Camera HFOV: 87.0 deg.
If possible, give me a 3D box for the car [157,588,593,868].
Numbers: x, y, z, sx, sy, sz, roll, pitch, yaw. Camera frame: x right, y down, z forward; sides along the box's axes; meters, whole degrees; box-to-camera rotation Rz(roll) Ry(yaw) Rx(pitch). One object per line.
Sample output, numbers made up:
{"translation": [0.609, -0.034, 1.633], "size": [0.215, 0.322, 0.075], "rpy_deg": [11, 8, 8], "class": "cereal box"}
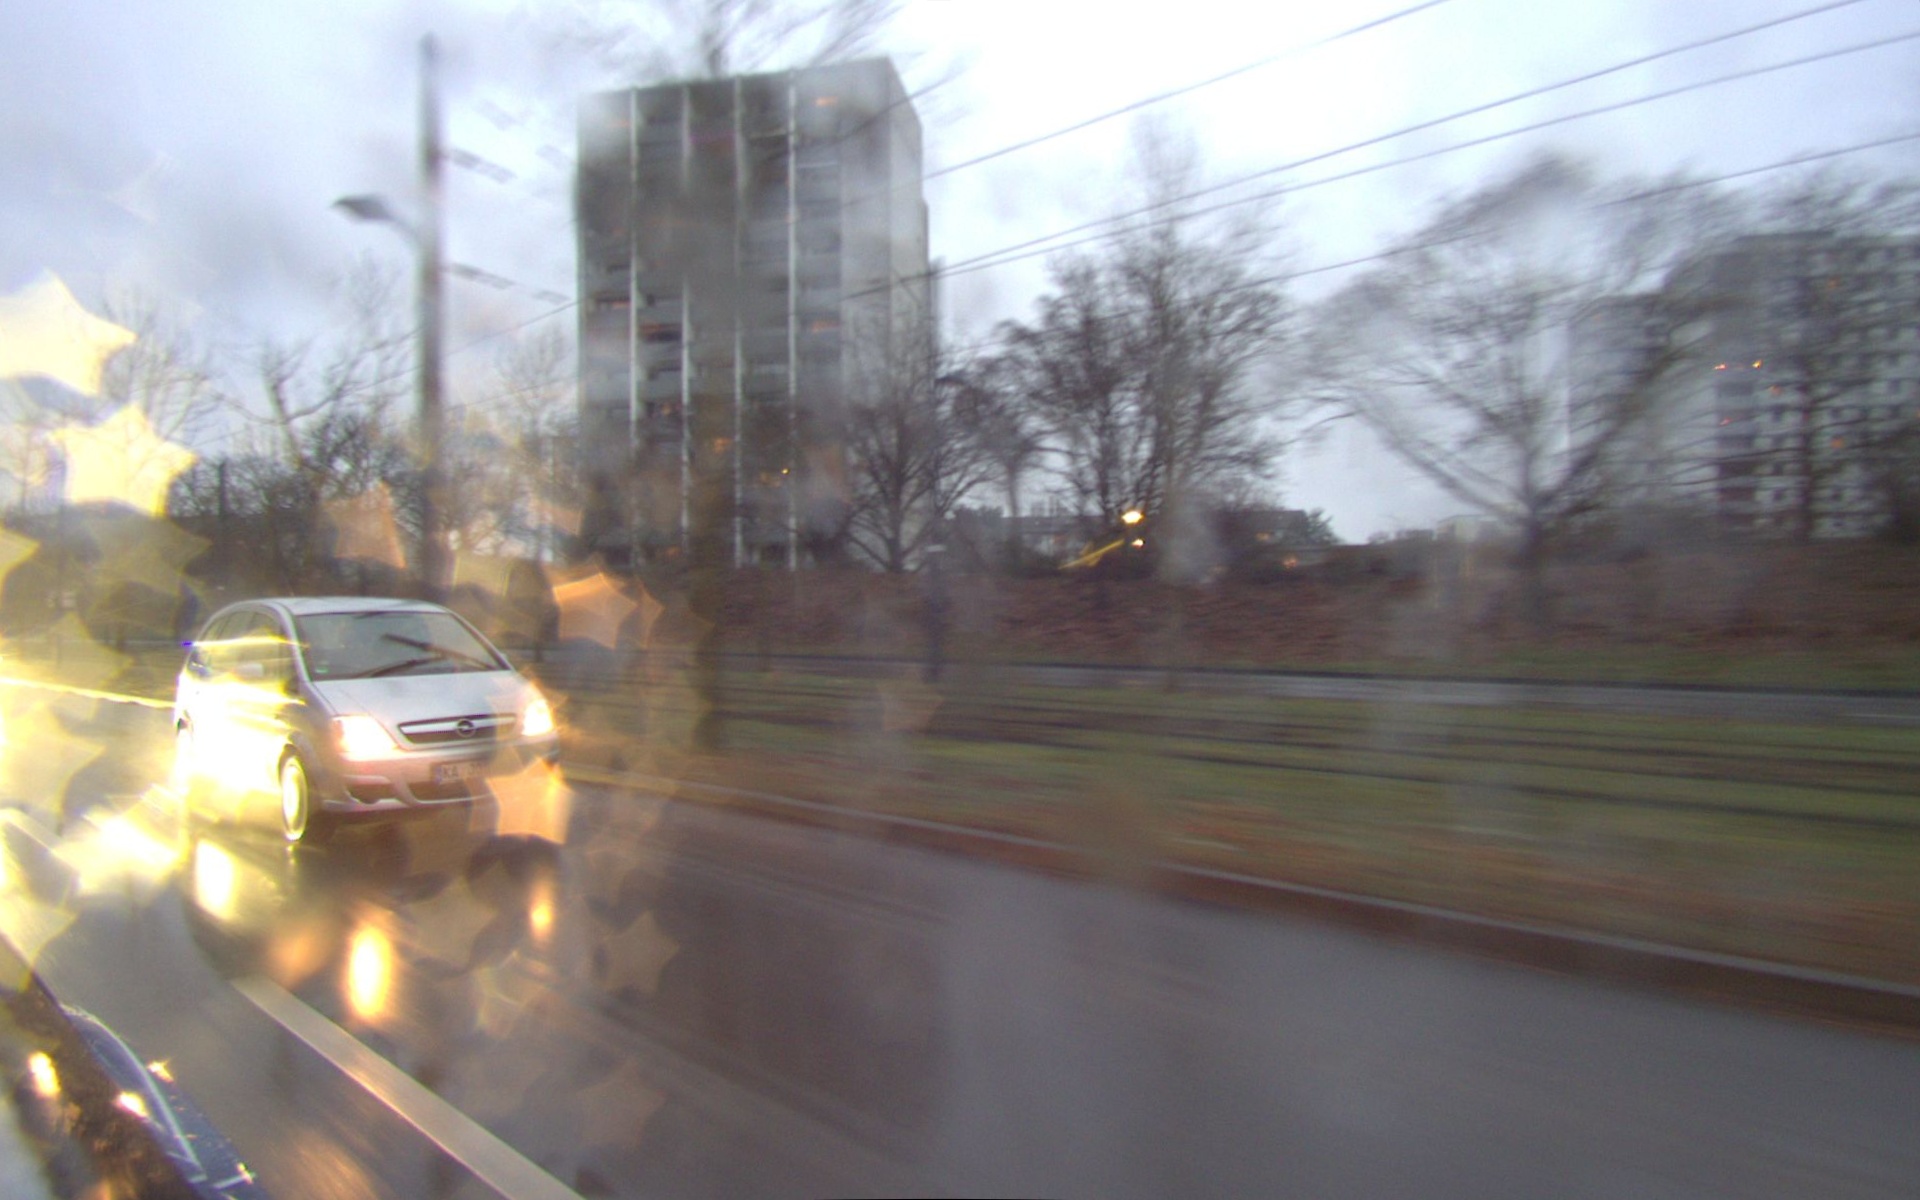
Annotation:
{"translation": [-4.582, 0.758, 7.683], "size": [3.920, 1.587, 1.648], "rpy_deg": [-1, 0, 41], "class": "car"}
